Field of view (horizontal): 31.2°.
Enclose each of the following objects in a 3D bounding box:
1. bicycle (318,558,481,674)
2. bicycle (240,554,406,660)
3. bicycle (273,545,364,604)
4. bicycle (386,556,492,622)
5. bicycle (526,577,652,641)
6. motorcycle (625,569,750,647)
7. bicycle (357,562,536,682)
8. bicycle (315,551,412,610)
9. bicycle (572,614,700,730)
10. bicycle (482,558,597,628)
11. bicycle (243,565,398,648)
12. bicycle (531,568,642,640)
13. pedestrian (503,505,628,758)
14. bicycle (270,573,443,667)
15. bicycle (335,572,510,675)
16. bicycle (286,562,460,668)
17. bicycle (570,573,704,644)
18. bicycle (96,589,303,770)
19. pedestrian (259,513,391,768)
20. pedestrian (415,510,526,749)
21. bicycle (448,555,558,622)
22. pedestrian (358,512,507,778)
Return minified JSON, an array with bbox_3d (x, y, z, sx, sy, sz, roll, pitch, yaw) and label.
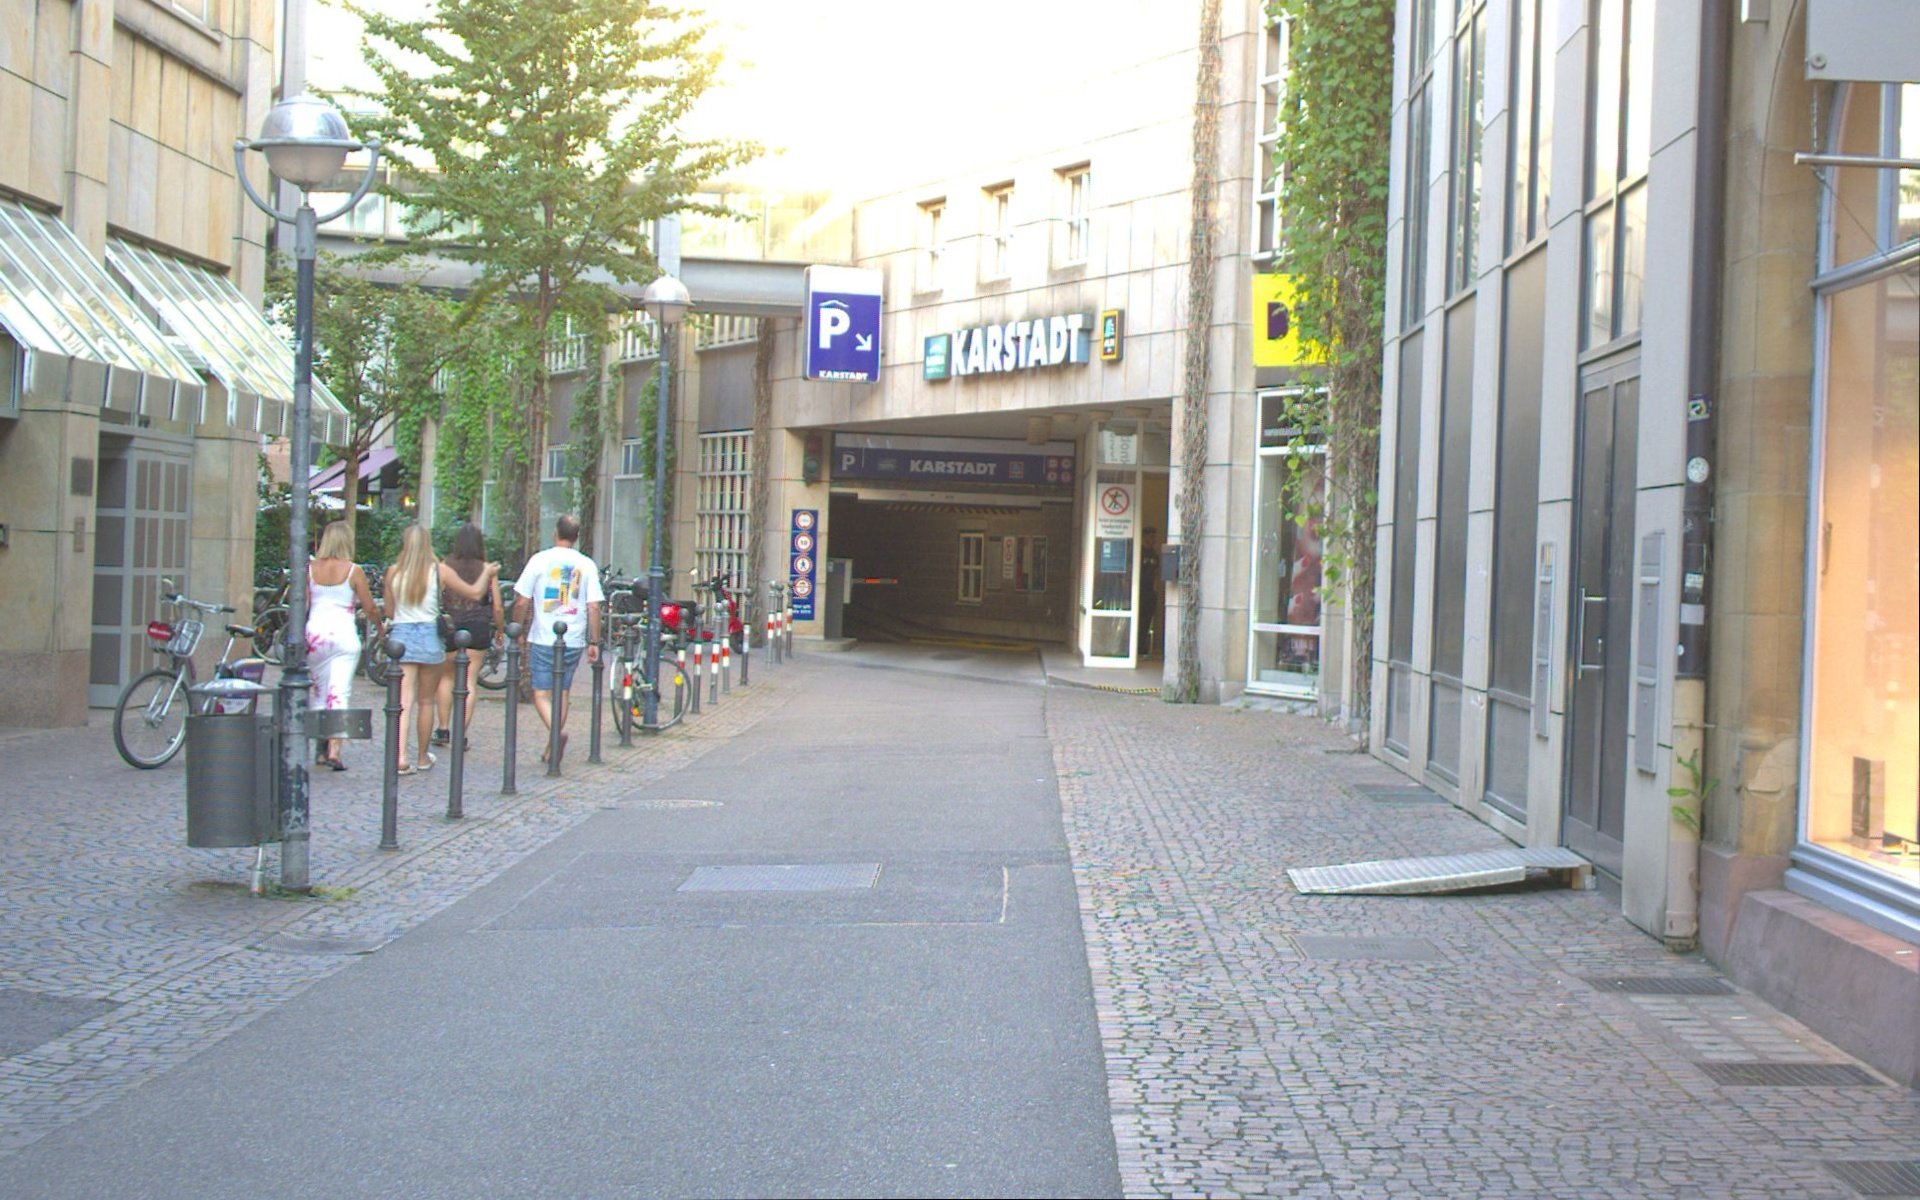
[{"bbox_3d":[-6.103,0.174,37.436,1.653,1.226,0.534,1,1,-22],"label":"bicycle"},{"bbox_3d":[-7.500,0.082,40.503,1.833,1.221,0.534,1,1,-22],"label":"bicycle"},{"bbox_3d":[-13.423,-0.531,71.915,1.773,1.186,0.586,1,1,-20],"label":"bicycle"},{"bbox_3d":[-9.230,-0.193,60.895,1.773,1.110,0.543,1,1,-20],"label":"bicycle"},{"bbox_3d":[-5.483,0.138,50.788,1.773,0.901,0.464,1,1,-20],"label":"bicycle"},{"bbox_3d":[-3.824,0.113,48.289,1.662,1.047,0.464,1,1,-20],"label":"motorcycle"},{"bbox_3d":[-5.395,0.236,36.149,1.766,1.226,0.534,1,1,-22],"label":"bicycle"},{"bbox_3d":[-11.566,-0.377,66.699,1.773,1.110,0.543,1,1,-17],"label":"bicycle"},{"bbox_3d":[-2.781,0.604,29.672,0.493,0.935,1.658,3,1,15],"label":"bicycle"},{"bbox_3d":[-6.898,-0.112,56.375,1.773,1.110,0.543,1,1,-20],"label":"bicycle"},{"bbox_3d":[-8.237,0.086,44.298,1.876,1.039,0.534,1,1,-22],"label":"bicycle"},{"bbox_3d":[-5.622,0.059,51.739,1.539,1.045,0.575,1,1,-20],"label":"bicycle"},{"bbox_3d":[-2.903,0.222,25.237,0.742,1.816,0.878,1,1,-15],"label":"pedestrian"},{"bbox_3d":[-6.987,0.233,39.824,1.893,1.048,0.534,1,1,-22],"label":"bicycle"},{"bbox_3d":[-5.985,0.261,38.327,1.836,1.118,0.534,1,1,-22],"label":"bicycle"},{"bbox_3d":[-6.709,0.171,39.290,1.872,1.173,0.534,1,1,-22],"label":"bicycle"},{"bbox_3d":[-4.688,0.126,49.926,1.847,0.979,0.464,1,1,-20],"label":"bicycle"},{"bbox_3d":[-5.041,0.505,22.885,0.522,1.134,1.763,2,1,17],"label":"bicycle"},{"bbox_3d":[-4.265,0.262,23.143,0.674,1.659,0.860,2,1,0],"label":"pedestrian"},{"bbox_3d":[-3.756,0.215,26.411,0.785,1.789,0.972,1,1,-7],"label":"pedestrian"},{"bbox_3d":[-7.794,-0.195,58.620,1.773,1.110,0.543,1,1,-20],"label":"bicycle"},{"bbox_3d":[-3.543,0.290,23.154,0.806,1.723,0.949,2,1,-1],"label":"pedestrian"}]
